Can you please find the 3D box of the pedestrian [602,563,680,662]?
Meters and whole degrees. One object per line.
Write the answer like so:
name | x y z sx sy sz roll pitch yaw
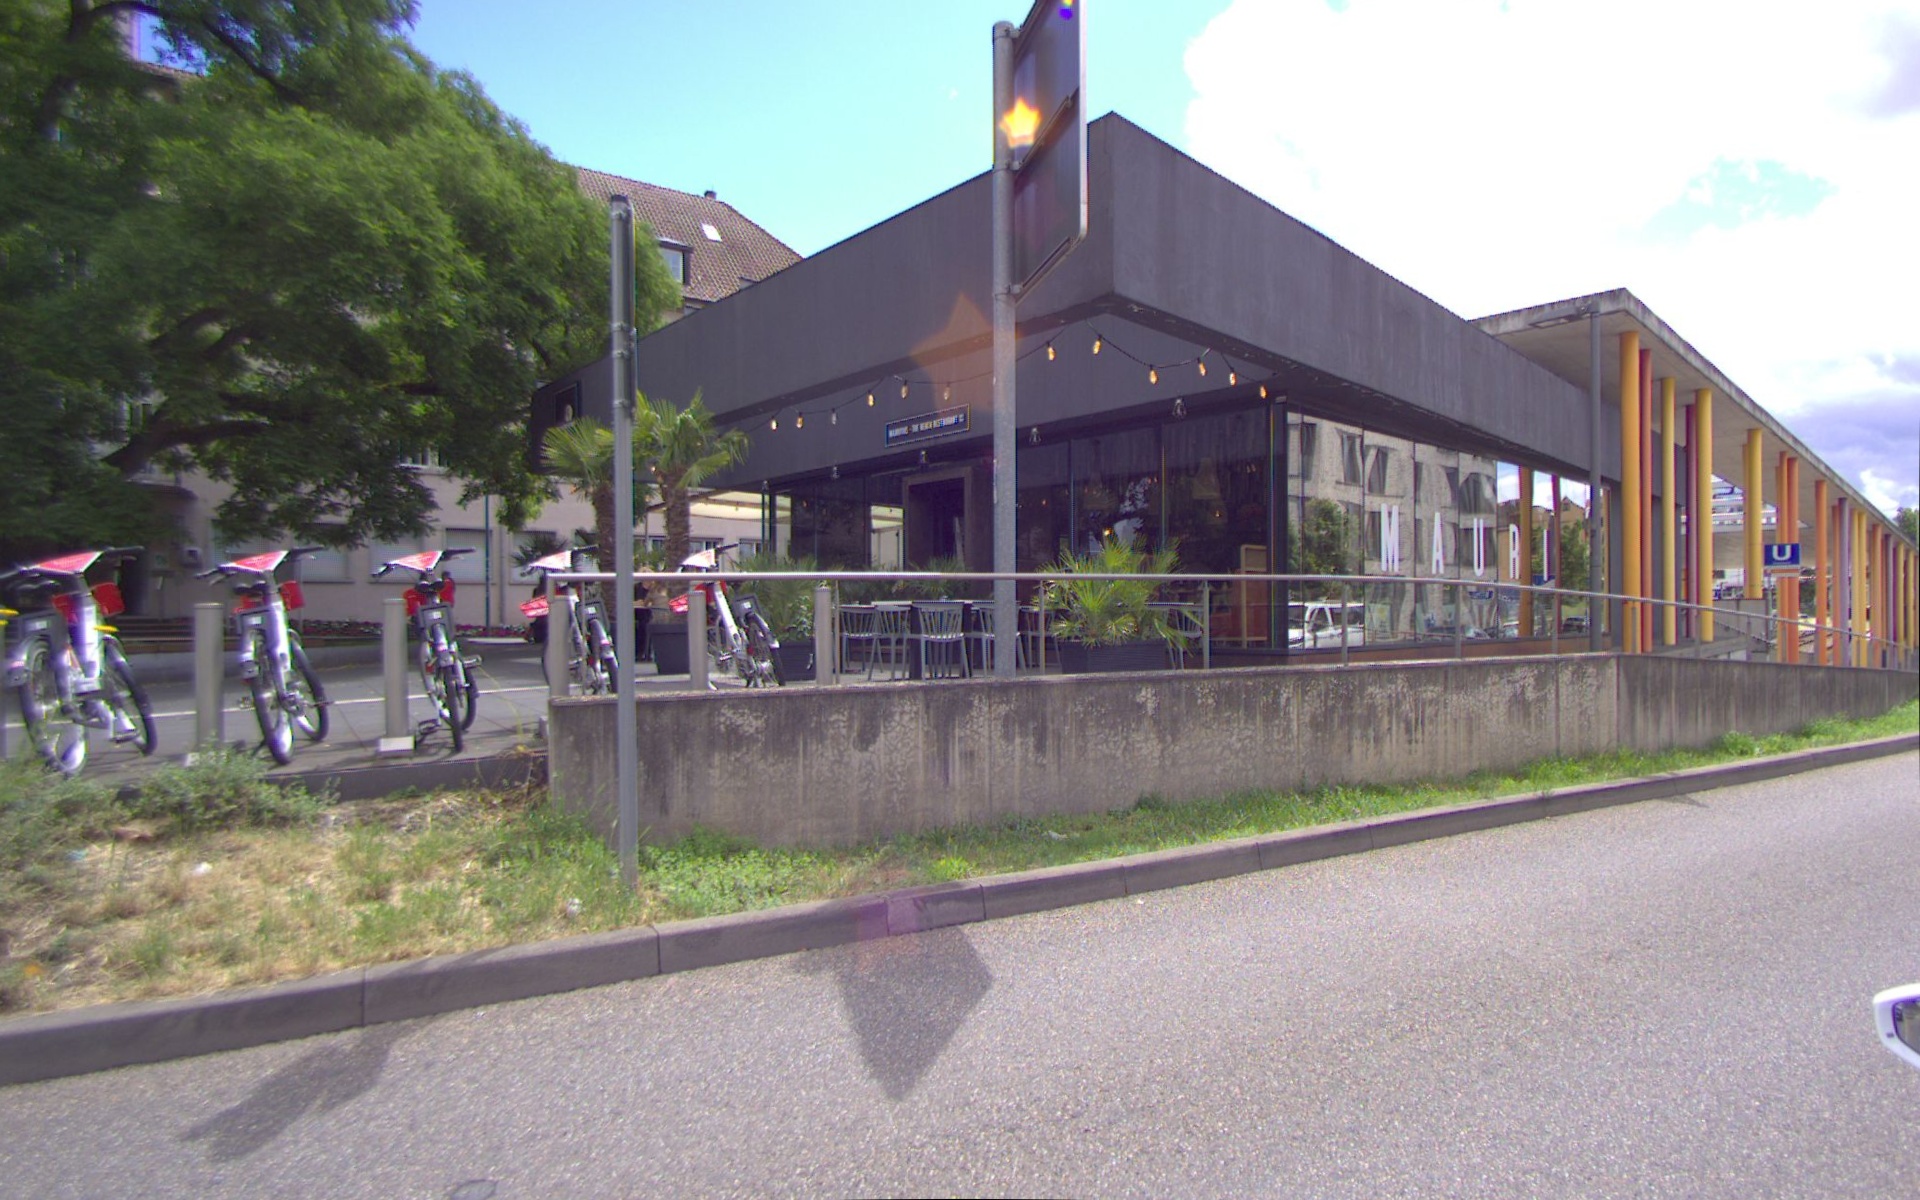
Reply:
pedestrian | -4.705 0.185 14.812 0.787 1.397 0.790 3 -1 -43

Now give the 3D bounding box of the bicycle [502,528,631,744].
bicycle | -2.431 0.211 6.115 0.527 1.142 1.540 1 -2 -29

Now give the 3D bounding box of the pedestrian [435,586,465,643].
pedestrian | -12.525 0.354 24.667 0.586 1.356 0.639 2 -1 -30

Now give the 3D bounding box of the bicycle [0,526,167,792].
bicycle | -4.452 0.273 5.009 0.527 1.142 1.540 1 -2 -29

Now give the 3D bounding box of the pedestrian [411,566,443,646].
pedestrian | -12.448 0.143 23.474 0.586 1.832 0.639 2 -1 -30

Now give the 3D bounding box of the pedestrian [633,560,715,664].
pedestrian | -4.000 0.175 14.046 0.787 1.397 0.790 3 -1 -43

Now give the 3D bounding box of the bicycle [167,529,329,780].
bicycle | -3.740 0.268 5.368 0.527 1.142 1.540 1 -2 -29

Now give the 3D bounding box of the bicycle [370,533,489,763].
bicycle | -3.076 0.258 5.804 0.527 1.142 1.540 1 -2 -29

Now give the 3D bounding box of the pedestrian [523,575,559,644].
pedestrian | -9.958 0.231 23.873 0.636 1.585 0.730 2 -1 -31

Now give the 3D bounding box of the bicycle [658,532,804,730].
bicycle | -1.546 0.199 6.610 0.527 1.142 1.540 1 -2 -29
